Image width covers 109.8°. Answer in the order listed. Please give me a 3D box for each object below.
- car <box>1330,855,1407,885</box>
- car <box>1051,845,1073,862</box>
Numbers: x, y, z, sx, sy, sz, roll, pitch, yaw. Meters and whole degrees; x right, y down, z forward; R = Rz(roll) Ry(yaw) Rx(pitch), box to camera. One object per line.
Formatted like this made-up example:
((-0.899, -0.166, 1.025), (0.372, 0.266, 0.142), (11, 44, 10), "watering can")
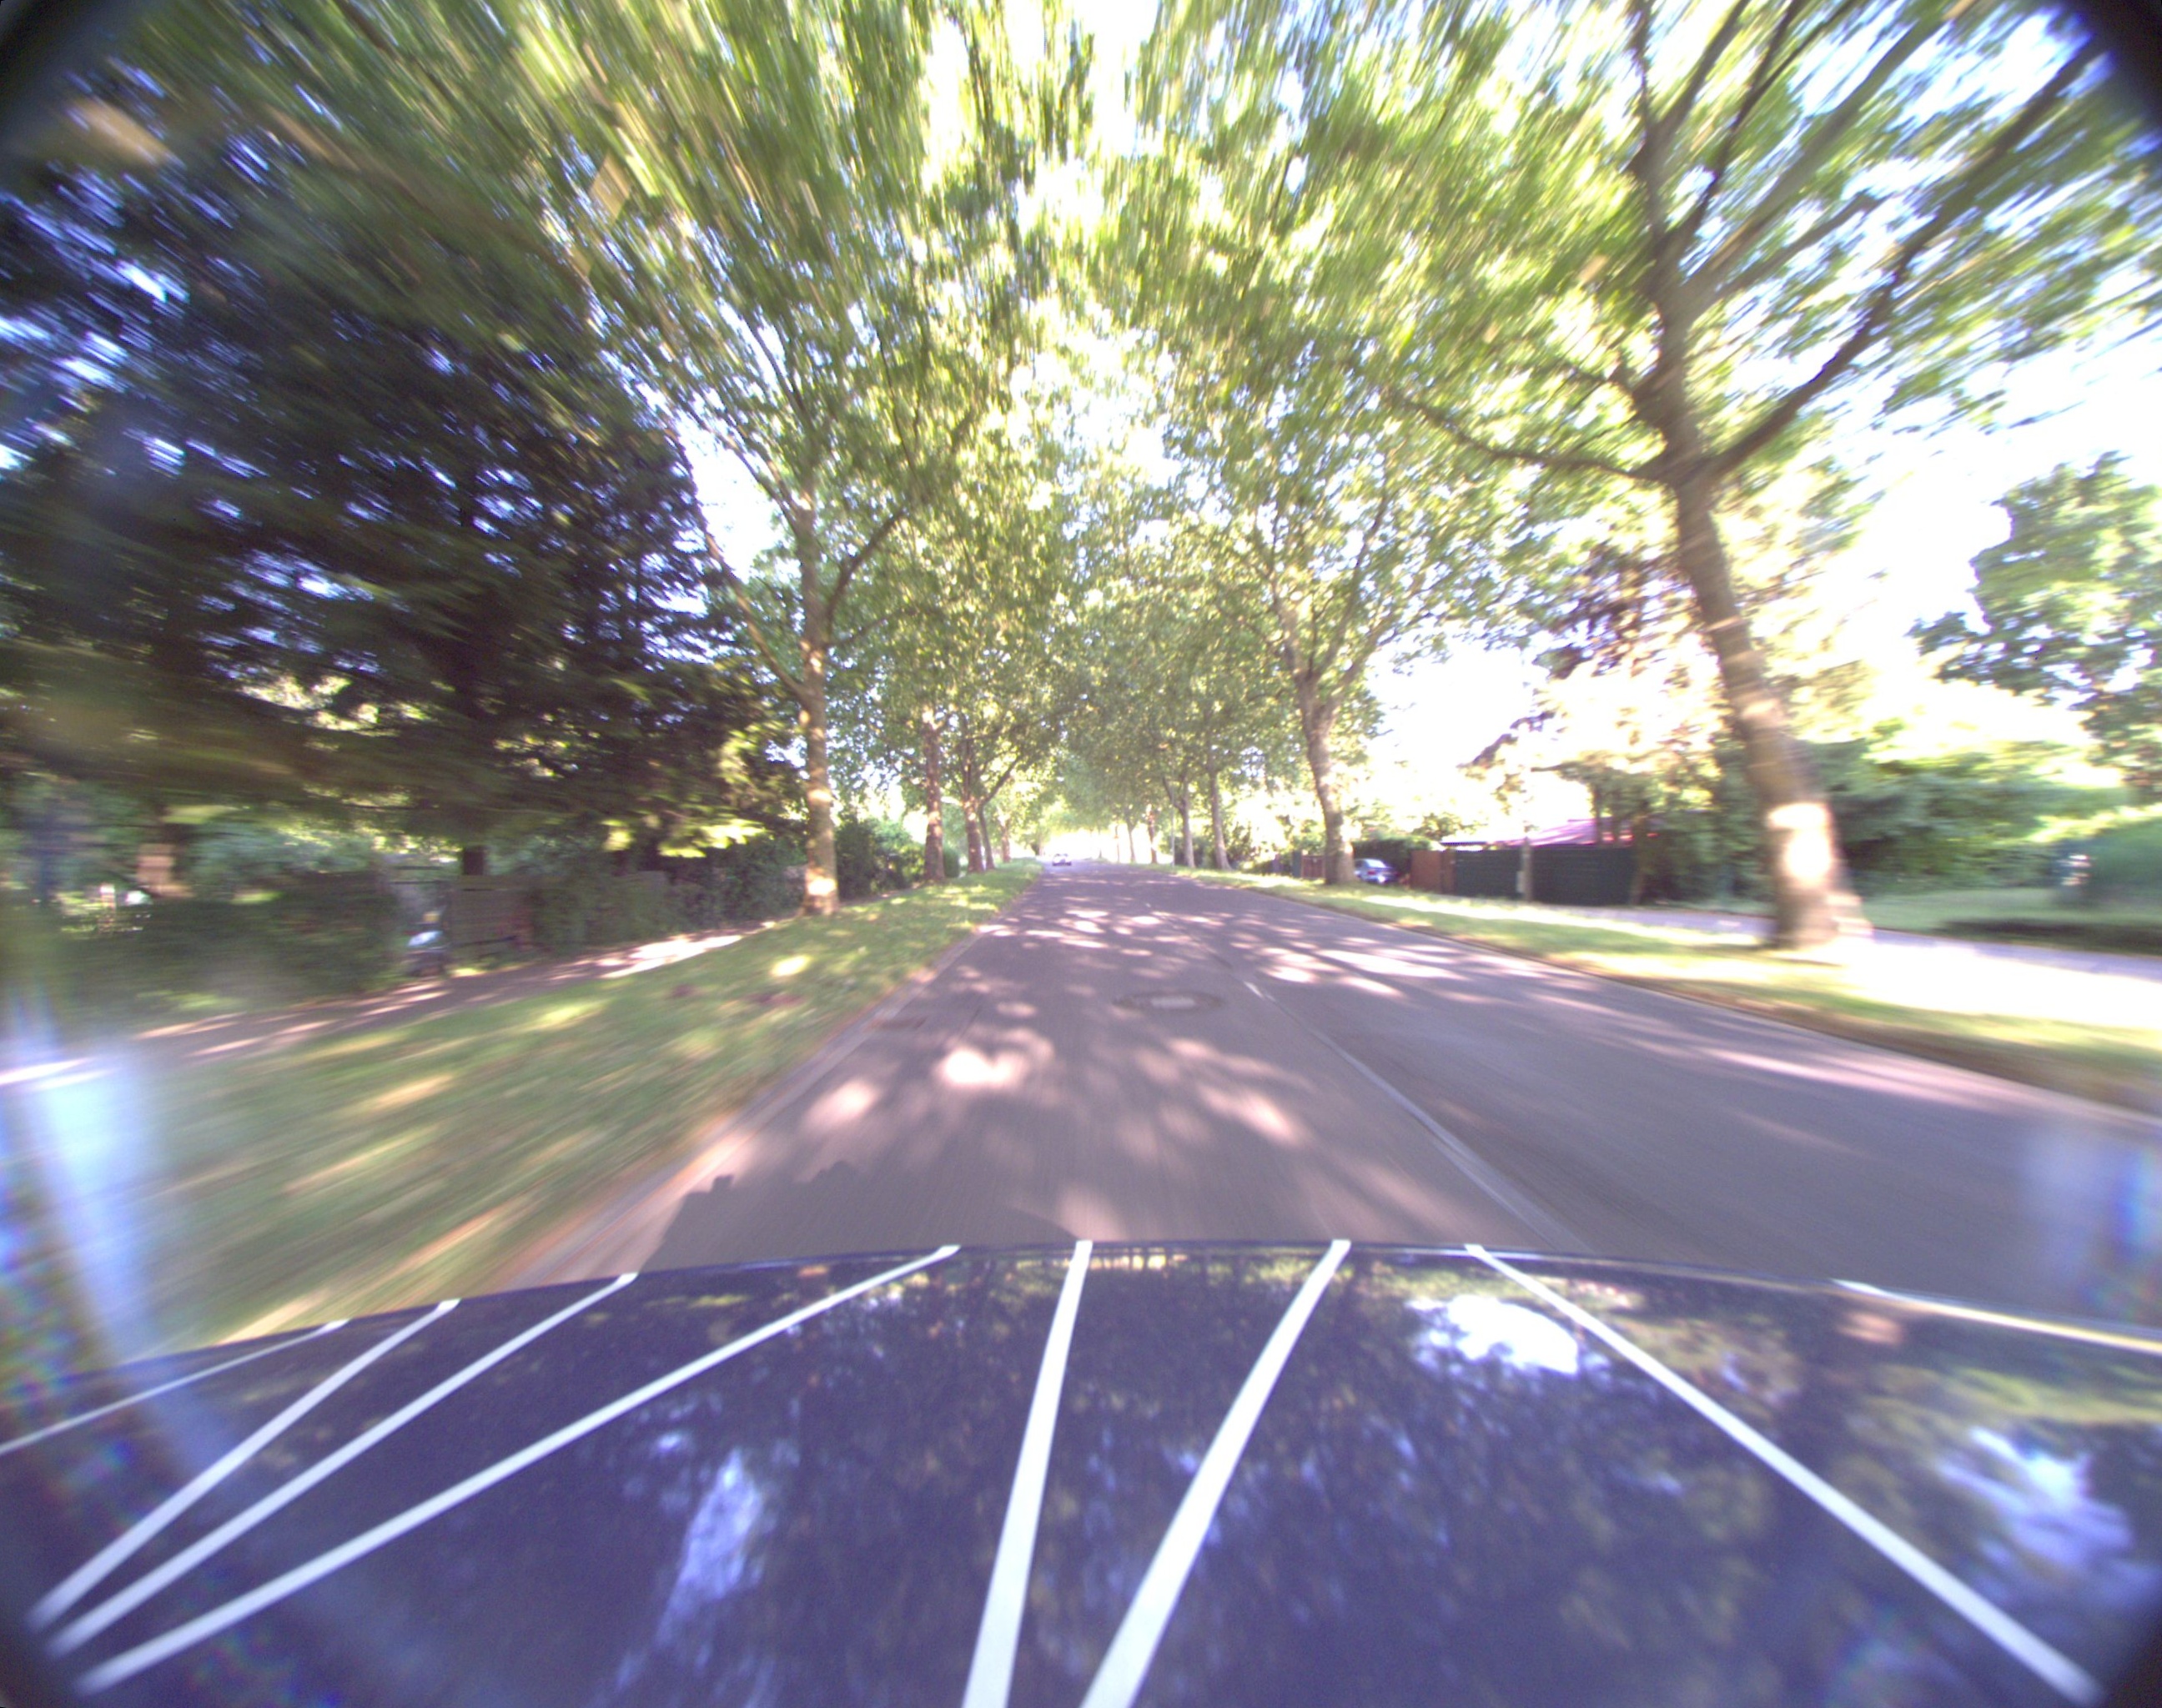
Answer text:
((13.152, 0.696, 35.023), (1.757, 1.296, 3.998), (0, 0, -5), "car")
((-1.987, -0.058, 79.294), (1.999, 1.656, 3.997), (-2, 1, -6), "car")
